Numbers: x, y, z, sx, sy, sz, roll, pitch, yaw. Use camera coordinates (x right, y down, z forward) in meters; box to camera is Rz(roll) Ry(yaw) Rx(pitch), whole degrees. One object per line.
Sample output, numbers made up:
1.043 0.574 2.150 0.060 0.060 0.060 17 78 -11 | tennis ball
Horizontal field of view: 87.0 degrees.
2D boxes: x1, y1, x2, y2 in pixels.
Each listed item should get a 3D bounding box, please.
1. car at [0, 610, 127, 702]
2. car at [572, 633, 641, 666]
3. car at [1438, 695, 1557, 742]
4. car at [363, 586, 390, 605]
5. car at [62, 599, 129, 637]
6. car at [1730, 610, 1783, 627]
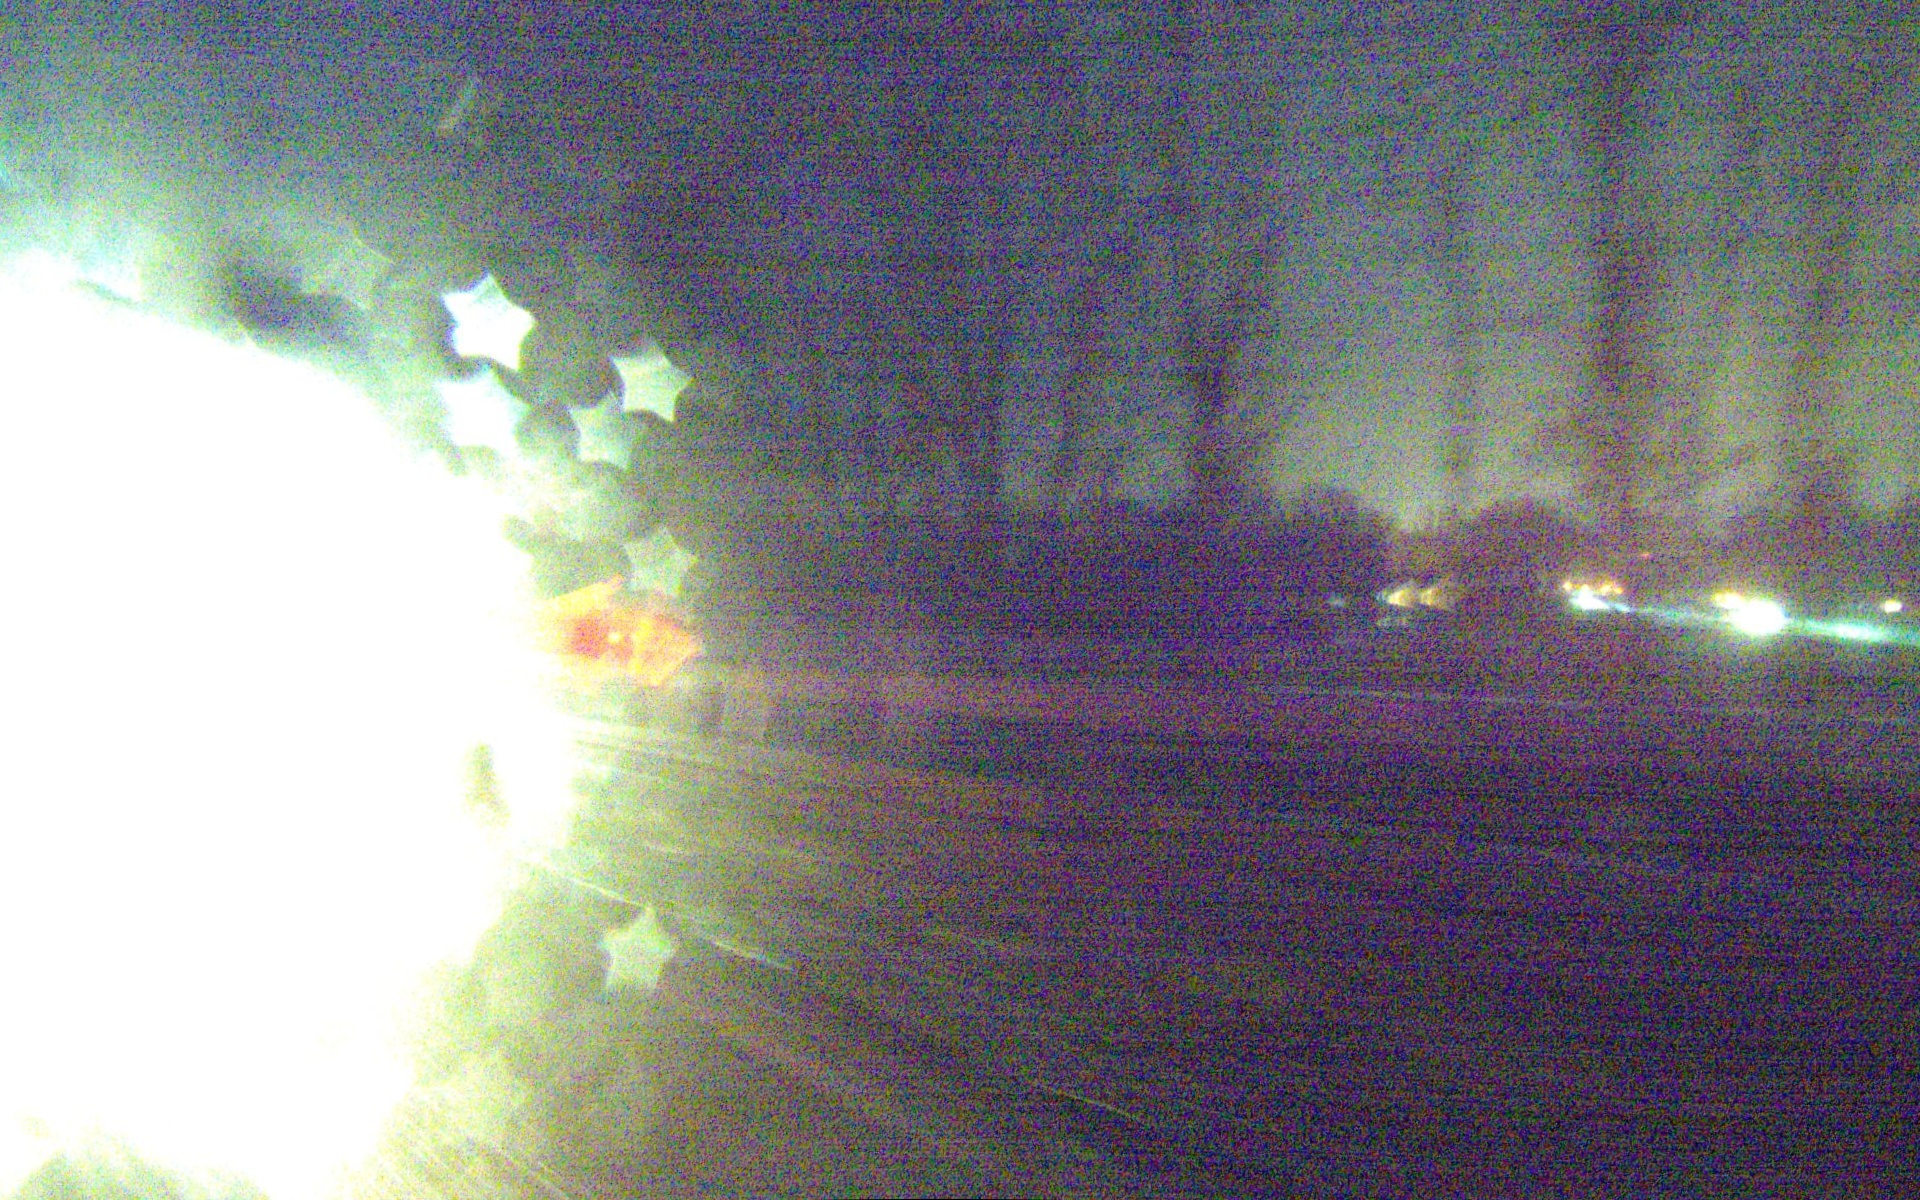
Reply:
-16.012 0.931 17.997 1.660 1.462 3.650 2 -1 -37 | car
-19.974 2.758 57.093 4.094 1.436 1.724 3 3 37 | car
18.928 4.177 35.726 3.385 1.438 1.504 1 -1 3 | car
-52.731 -0.415 91.417 1.735 1.501 4.056 1 3 -36 | car
-32.360 0.625 37.968 1.733 1.321 4.093 0 0 -38 | car
81.035 1.866 103.046 1.895 1.765 4.247 0 0 -3 | car
